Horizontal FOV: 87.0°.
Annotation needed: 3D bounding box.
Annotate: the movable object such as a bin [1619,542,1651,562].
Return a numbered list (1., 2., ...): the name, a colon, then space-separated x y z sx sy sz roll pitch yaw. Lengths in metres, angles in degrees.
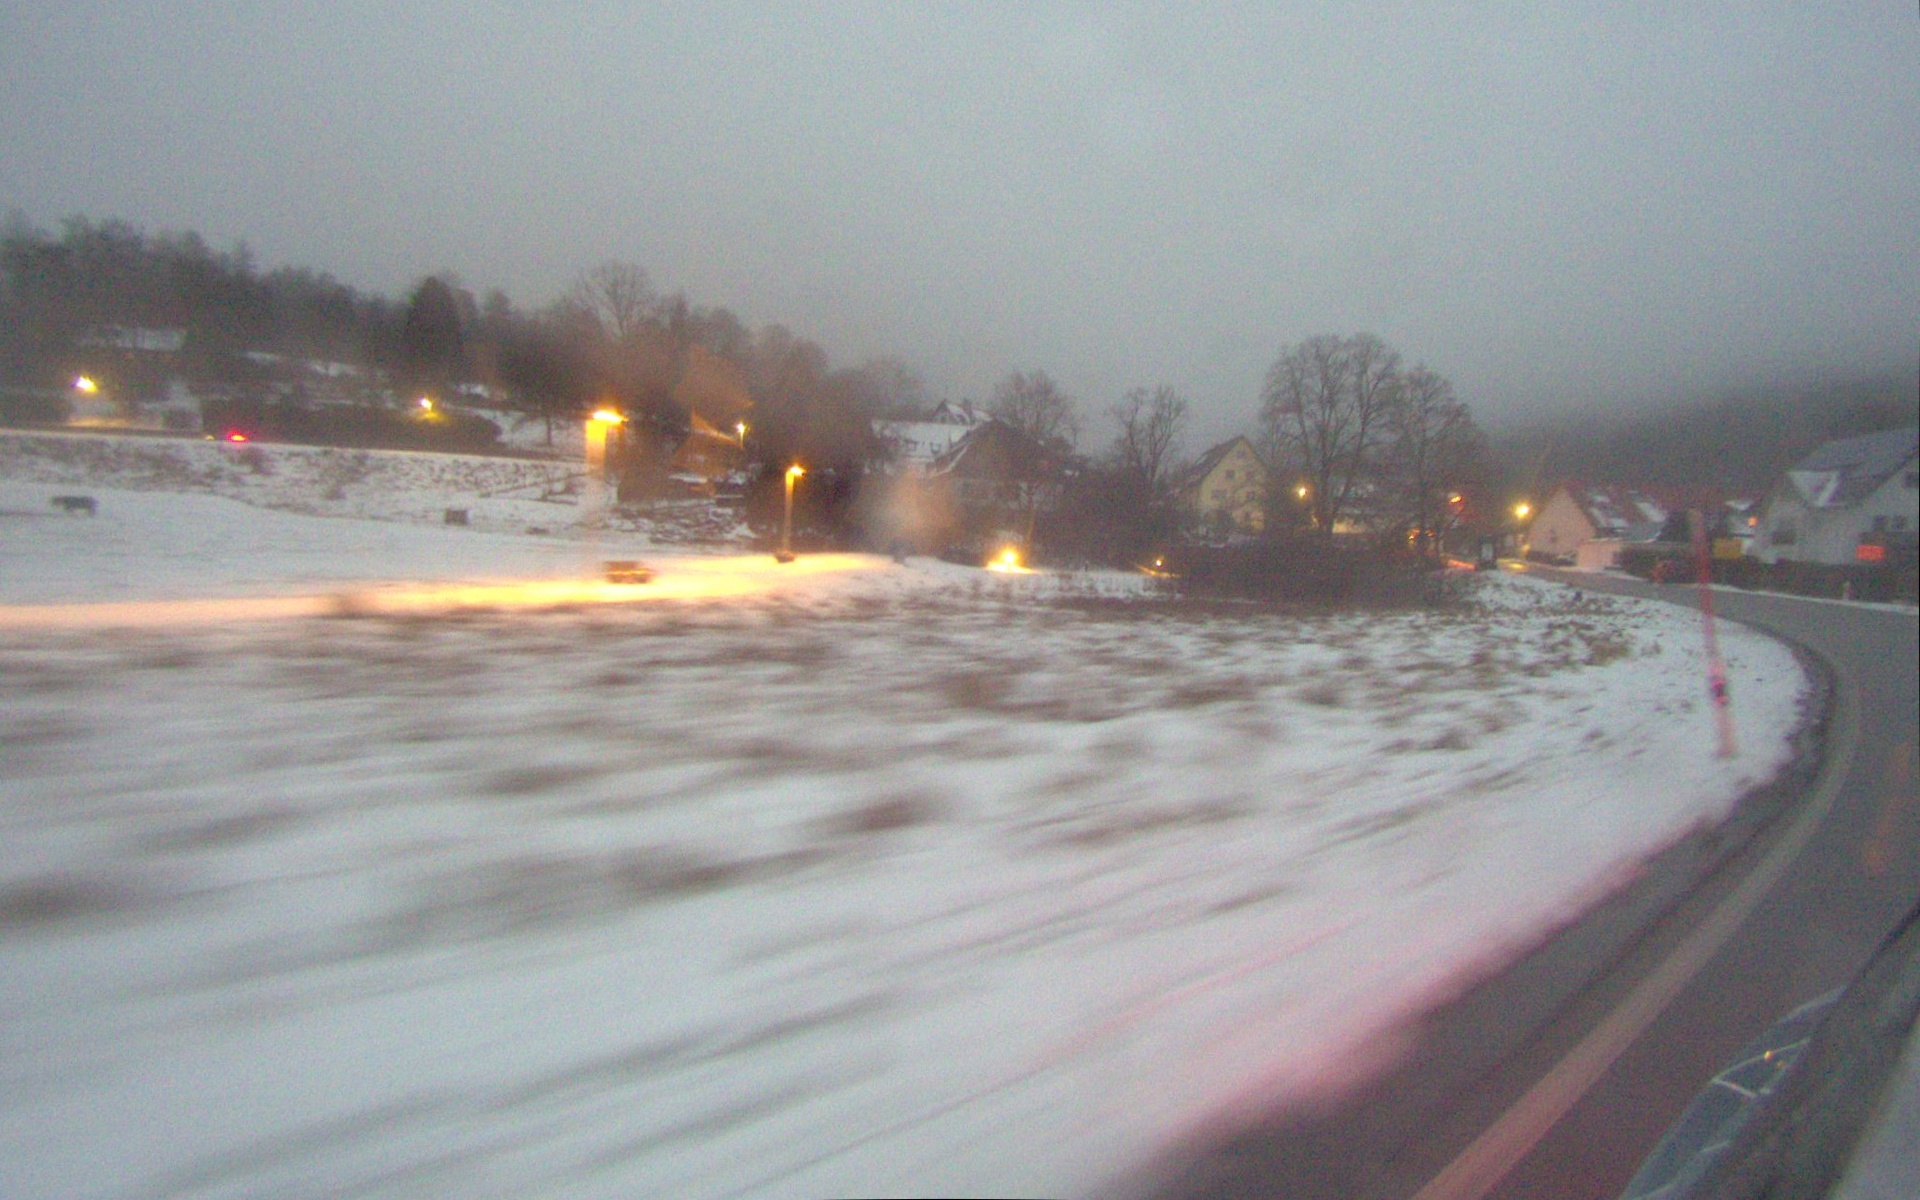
1. movable object such as a bin: 59.167 -4.244 88.736 2.355 1.668 1.424 0 3 35

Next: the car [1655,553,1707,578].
1. car: 50.686 -2.448 71.236 1.699 1.552 3.503 3 4 14

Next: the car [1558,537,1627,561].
1. car: 62.074 -5.055 99.404 5.194 2.036 2.211 2 7 11
